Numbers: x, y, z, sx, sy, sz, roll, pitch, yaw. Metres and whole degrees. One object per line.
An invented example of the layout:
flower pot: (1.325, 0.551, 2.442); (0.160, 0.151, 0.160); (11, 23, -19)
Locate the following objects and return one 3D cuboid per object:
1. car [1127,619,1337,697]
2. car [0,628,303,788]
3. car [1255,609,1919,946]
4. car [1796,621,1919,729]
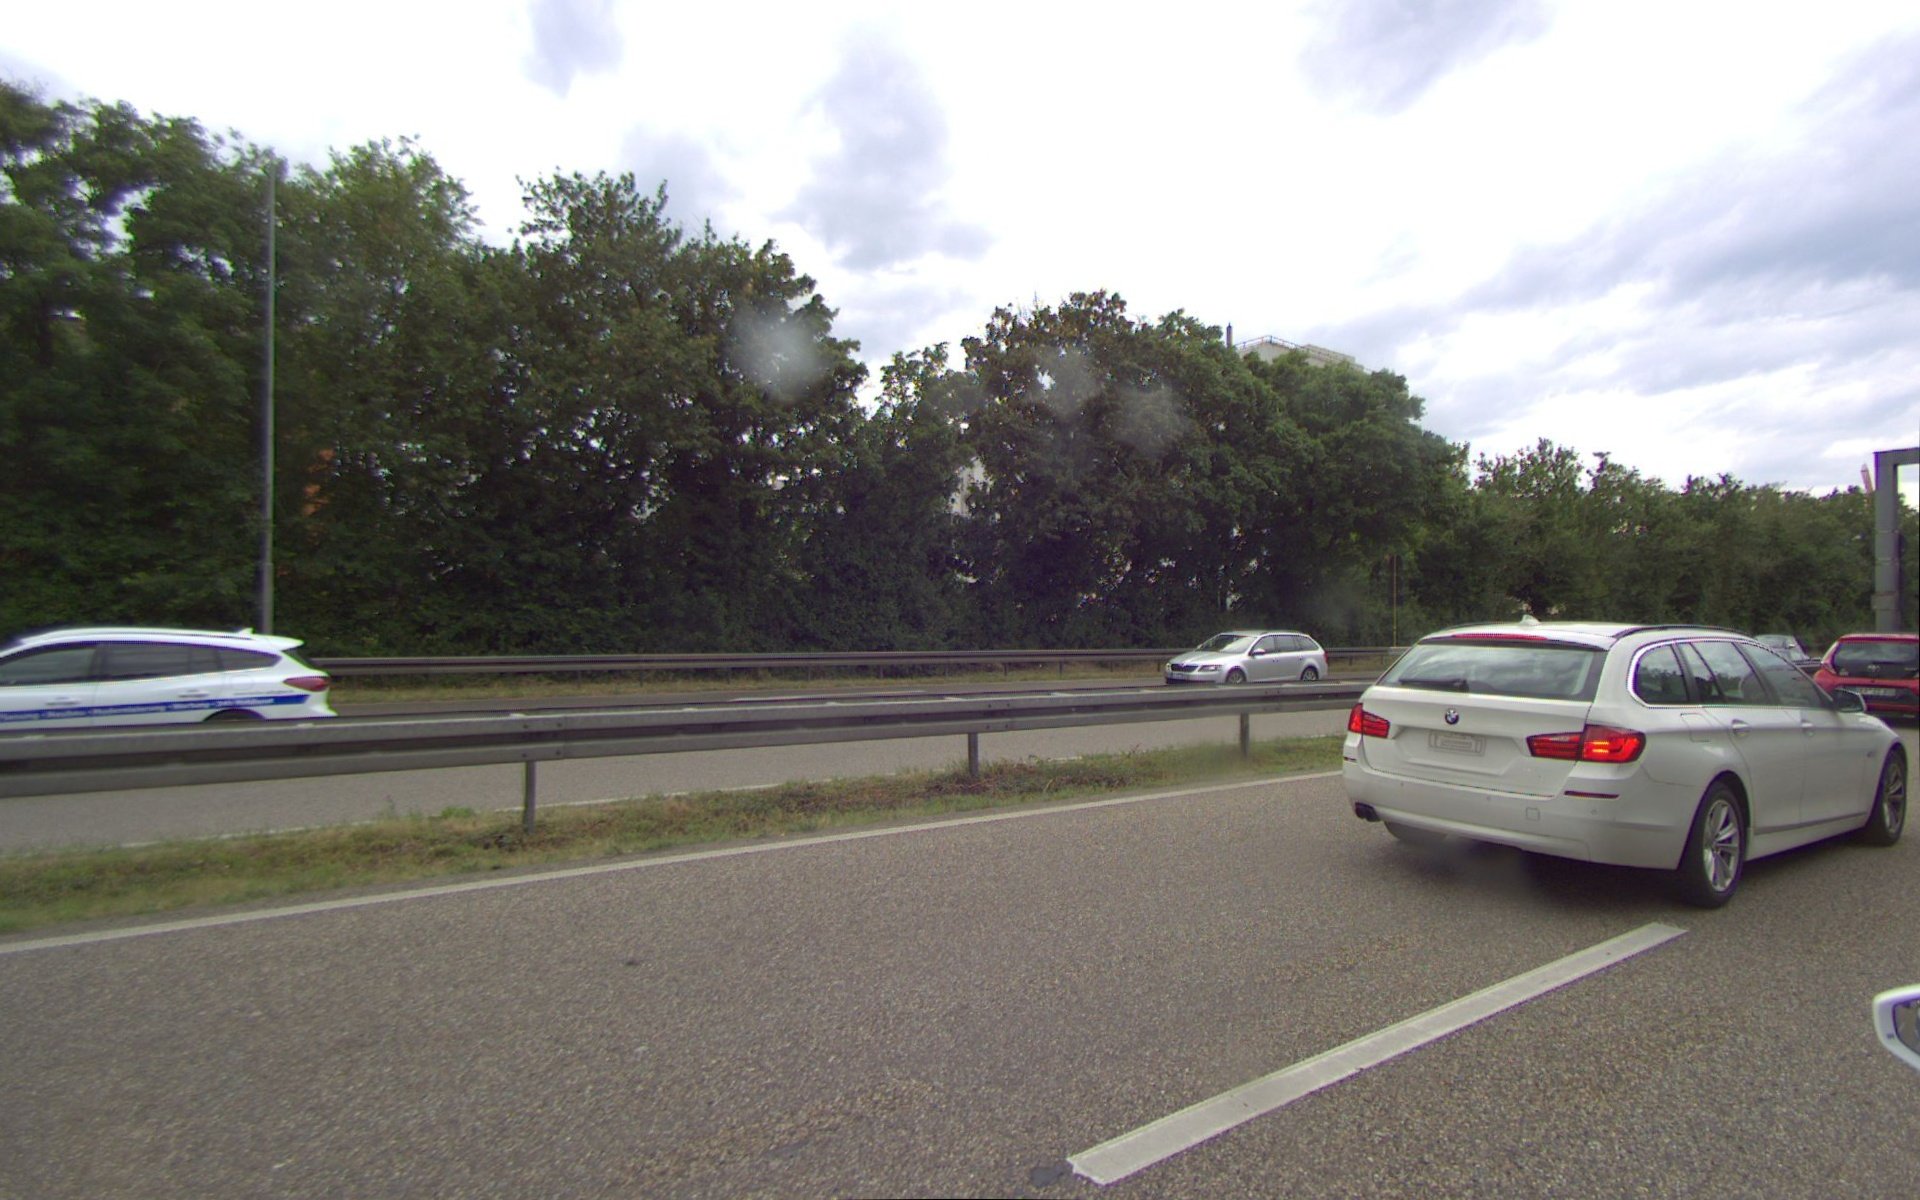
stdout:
car: (6.329, 1.275, 23.116); (5.222, 1.613, 1.684); (1, -1, -34)
car: (-9.382, 1.017, 9.934); (4.630, 1.468, 1.667); (2, -2, -42)
car: (4.512, 0.848, 6.757); (5.204, 1.483, 2.045); (1, -1, -34)
car: (15.474, 1.178, 16.469); (4.047, 1.544, 1.617); (2, 0, -34)
